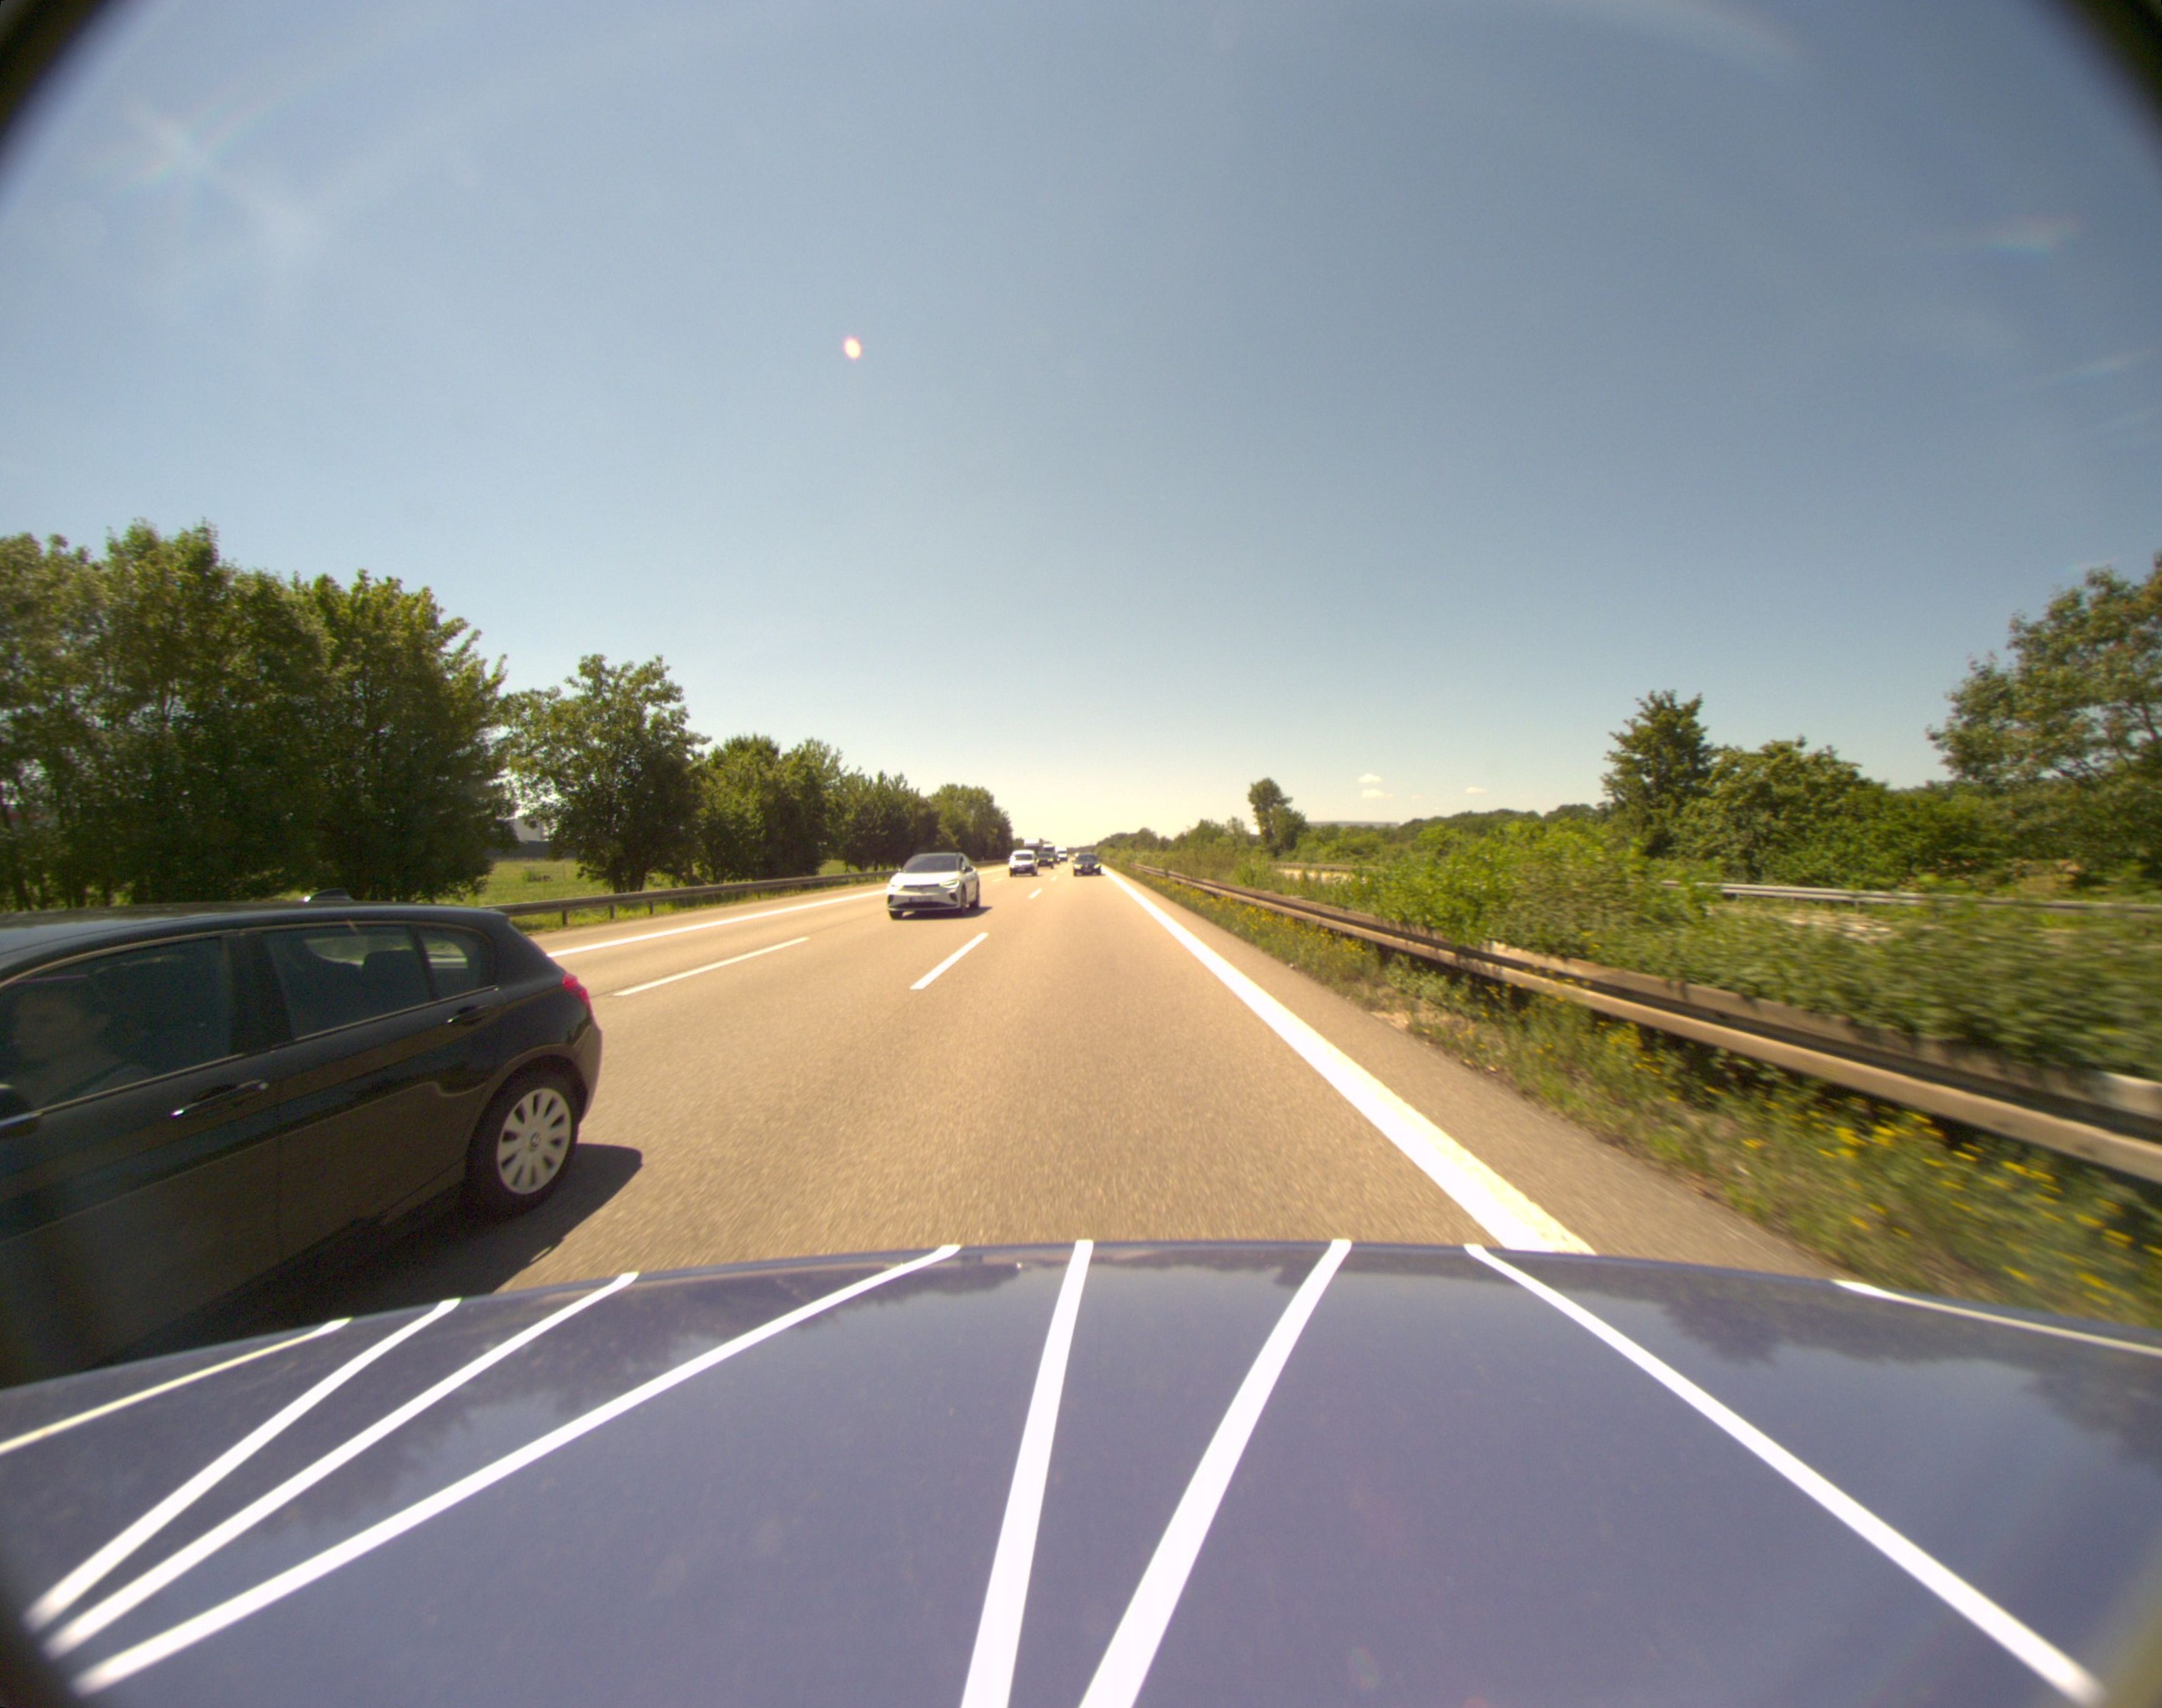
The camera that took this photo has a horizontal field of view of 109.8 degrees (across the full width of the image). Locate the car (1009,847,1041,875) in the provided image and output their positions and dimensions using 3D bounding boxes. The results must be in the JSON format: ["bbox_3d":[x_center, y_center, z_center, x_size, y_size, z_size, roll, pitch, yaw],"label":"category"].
[{"bbox_3d":[-3.927,0.468,54.184,1.887,1.861,4.467,-1,1,1],"label":"car"}]

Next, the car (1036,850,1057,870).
[{"bbox_3d":[-3.513,0.587,77.494,1.887,1.861,4.467,-1,1,1],"label":"car"}]

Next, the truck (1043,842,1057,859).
[{"bbox_3d":[-7.718,-0.882,188.275,2.797,4.180,10.806,-1,0,1],"label":"truck"}]

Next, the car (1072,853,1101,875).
[{"bbox_3d":[0.376,0.623,51.172,1.887,1.341,4.467,-1,0,1],"label":"car"}]

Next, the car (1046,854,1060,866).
[{"bbox_3d":[-3.876,0.798,104.374,1.887,1.557,4.466,-1,0,-2],"label":"car"}]

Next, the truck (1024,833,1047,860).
[{"bbox_3d":[-7.404,-1.176,124.939,2.797,4.180,10.806,-1,0,1],"label":"truck"}]

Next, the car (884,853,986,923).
[{"bbox_3d":[-3.781,0.815,20.343,1.887,1.634,4.000,-1,1,1],"label":"car"}]

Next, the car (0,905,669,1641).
[{"bbox_3d":[-3.280,1.020,2.025,1.841,1.409,4.497,-1,0,1],"label":"car"}]

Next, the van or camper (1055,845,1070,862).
[{"bbox_3d":[-3.152,-0.091,130.374,2.198,2.796,6.999,-1,0,1],"label":"van or camper"}]
